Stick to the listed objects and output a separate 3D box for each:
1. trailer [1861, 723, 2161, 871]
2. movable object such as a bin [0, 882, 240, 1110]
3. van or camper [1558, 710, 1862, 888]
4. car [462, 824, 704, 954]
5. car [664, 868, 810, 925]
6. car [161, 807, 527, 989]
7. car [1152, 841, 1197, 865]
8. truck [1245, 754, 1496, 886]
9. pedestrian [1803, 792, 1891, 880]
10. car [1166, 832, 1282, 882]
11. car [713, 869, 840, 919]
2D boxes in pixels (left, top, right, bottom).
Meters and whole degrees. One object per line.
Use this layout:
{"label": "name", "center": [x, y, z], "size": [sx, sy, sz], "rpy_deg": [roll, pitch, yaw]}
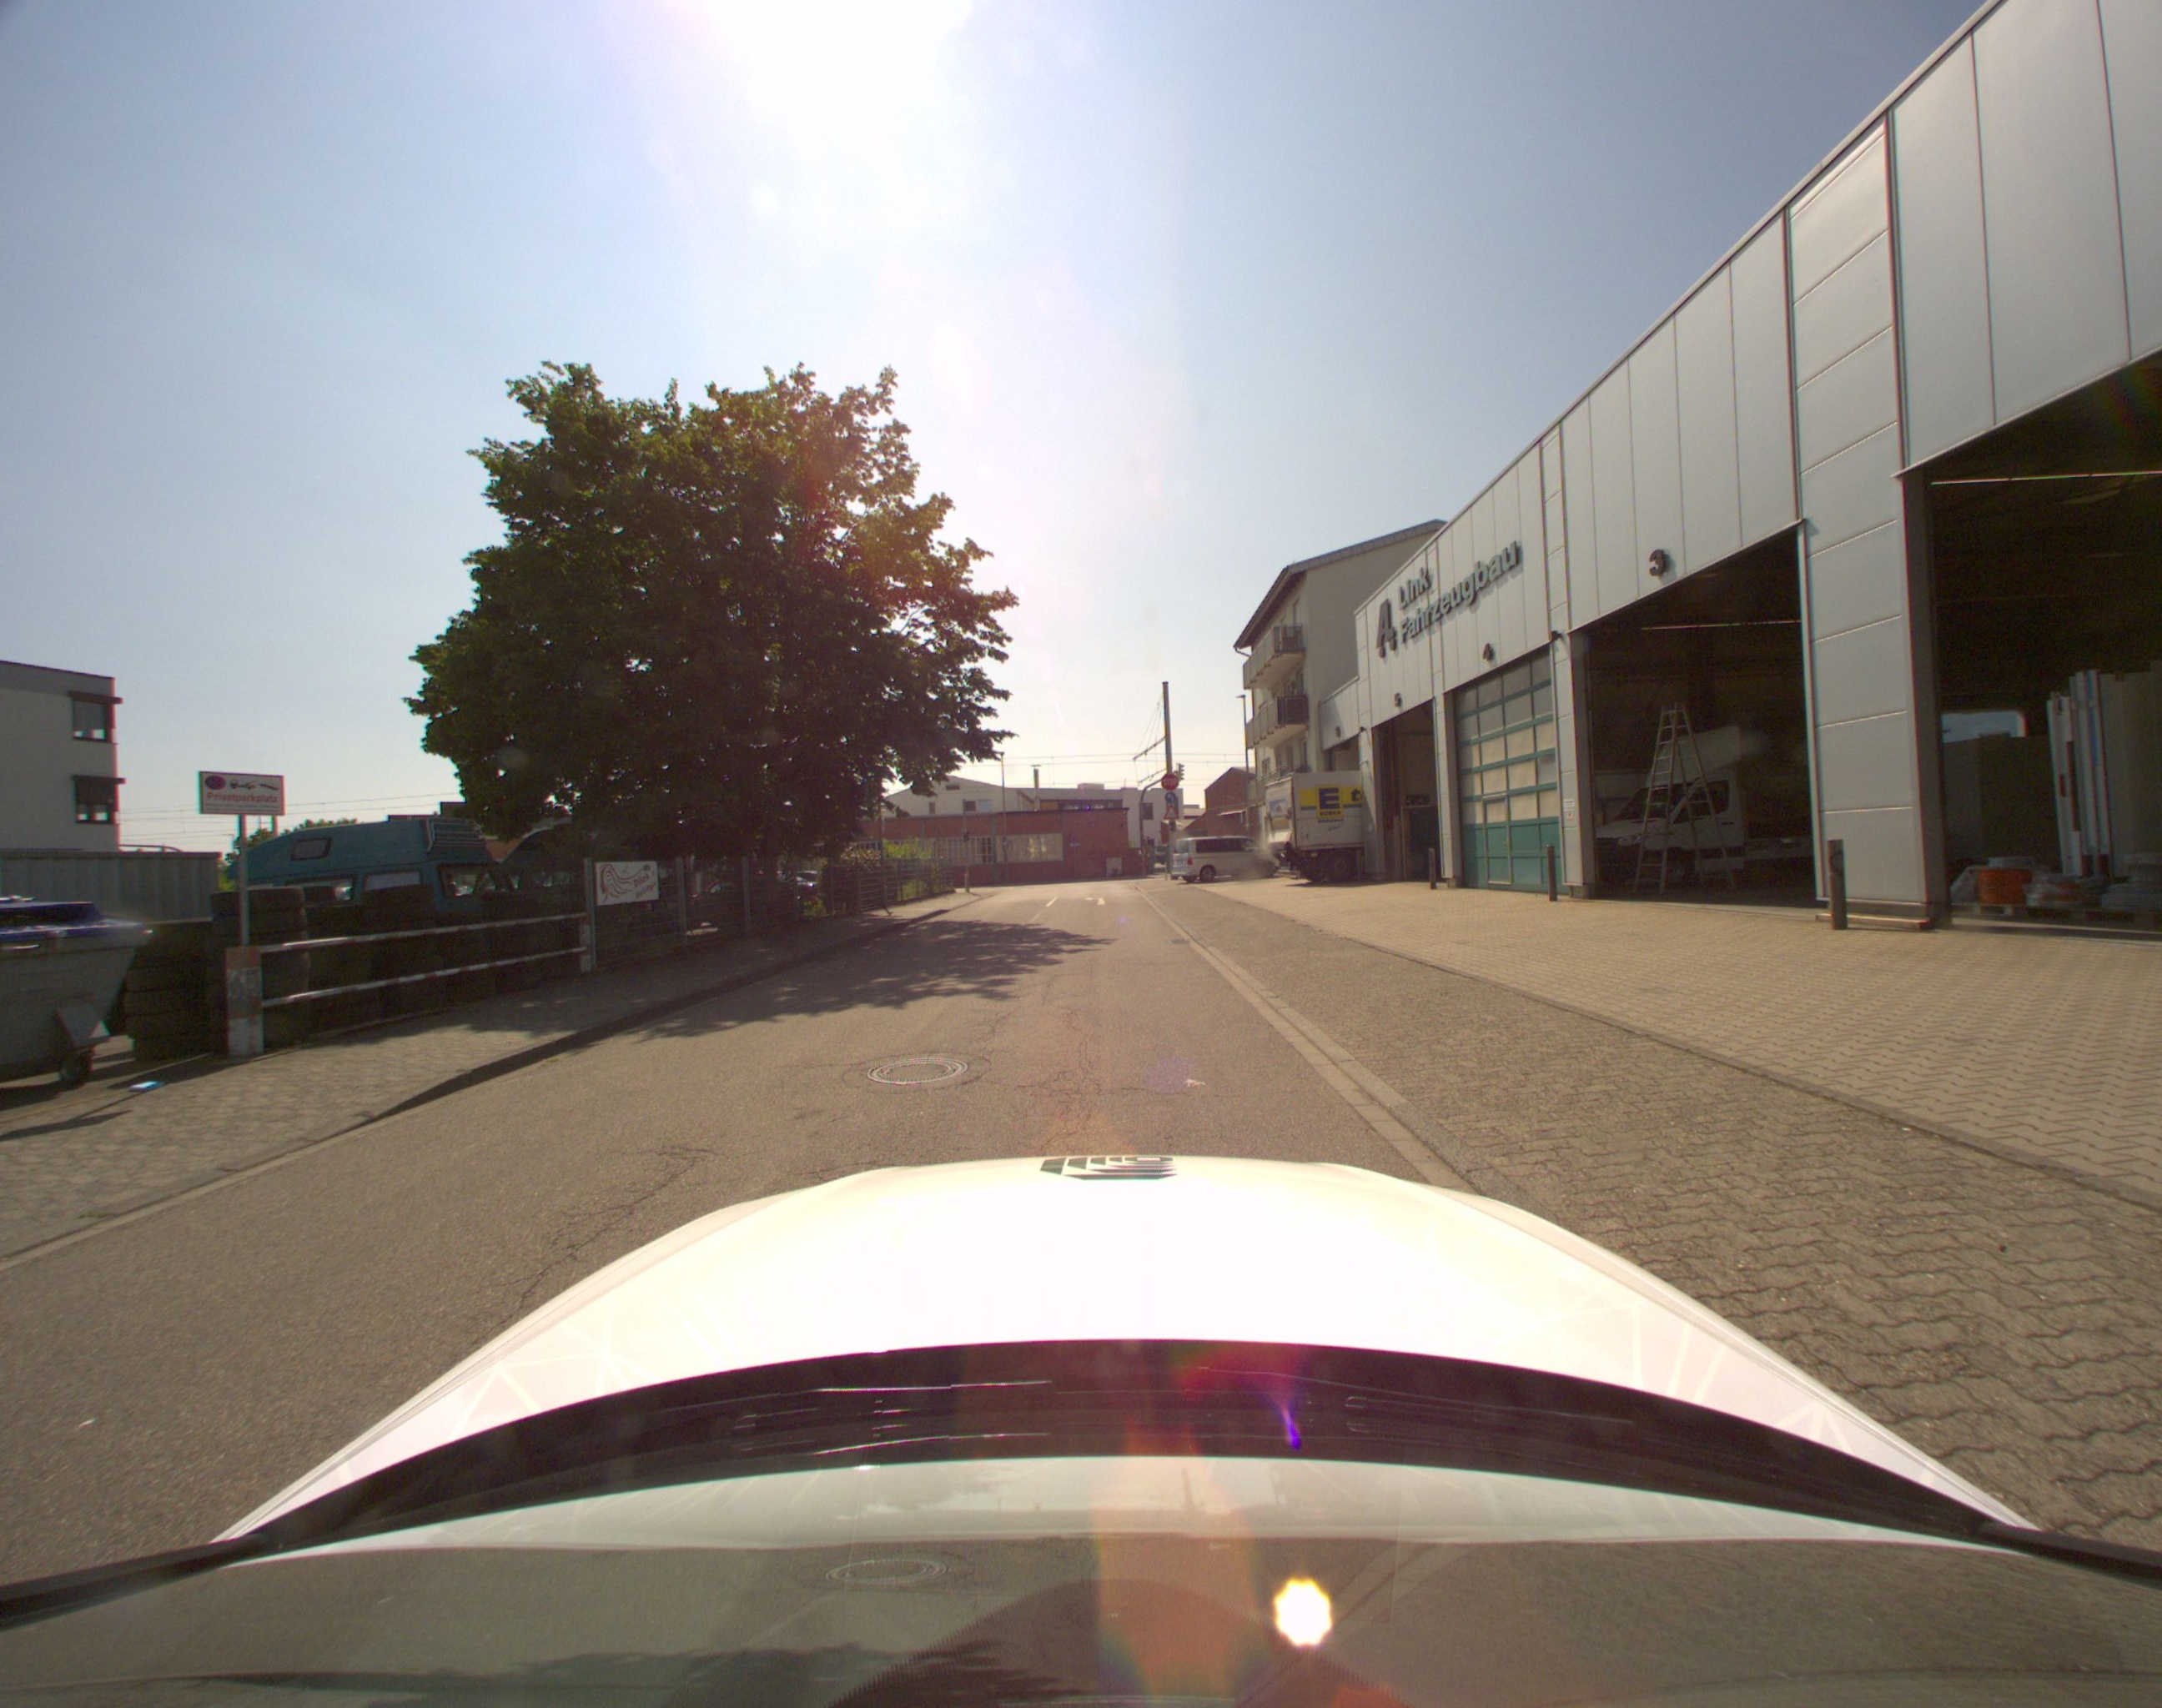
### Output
{"label": "trailer", "center": [20.085, -1.151, 17.359], "size": [4.479, 2.764, 2.437], "rpy_deg": [-3, 0, 0]}
{"label": "movable object such as a bin", "center": [-8.759, 1.079, 5.810], "size": [2.613, 1.510, 2.734], "rpy_deg": [-3, 0, 7]}
{"label": "van or camper", "center": [12.922, -1.092, 16.955], "size": [4.744, 3.288, 1.998], "rpy_deg": [-3, 0, -3]}
{"label": "car", "center": [-10.749, 0.728, 17.812], "size": [4.073, 2.513, 1.776], "rpy_deg": [-3, 0, -1]}
{"label": "car", "center": [-10.463, 1.266, 24.919], "size": [3.647, 1.477, 1.736], "rpy_deg": [-3, 0, 1]}
{"label": "car", "center": [-11.553, 0.657, 12.994], "size": [4.073, 2.513, 1.776], "rpy_deg": [-3, 0, -1]}
{"label": "car", "center": [9.344, -0.074, 81.204], "size": [4.013, 2.189, 1.980], "rpy_deg": [-2, 0, -31]}
{"label": "truck", "center": [9.738, -1.124, 27.818], "size": [7.348, 3.645, 2.763], "rpy_deg": [-5, 0, -5]}
{"label": "pedestrian", "center": [14.746, -0.338, 15.699], "size": [0.809, 1.620, 0.865], "rpy_deg": [-3, -1, 0]}
{"label": "car", "center": [6.364, 0.137, 36.245], "size": [4.667, 1.957, 1.905], "rpy_deg": [-3, 0, -18]}
{"label": "car", "center": [-10.482, 1.367, 28.154], "size": [3.640, 1.477, 1.739], "rpy_deg": [-3, 0, 7]}
